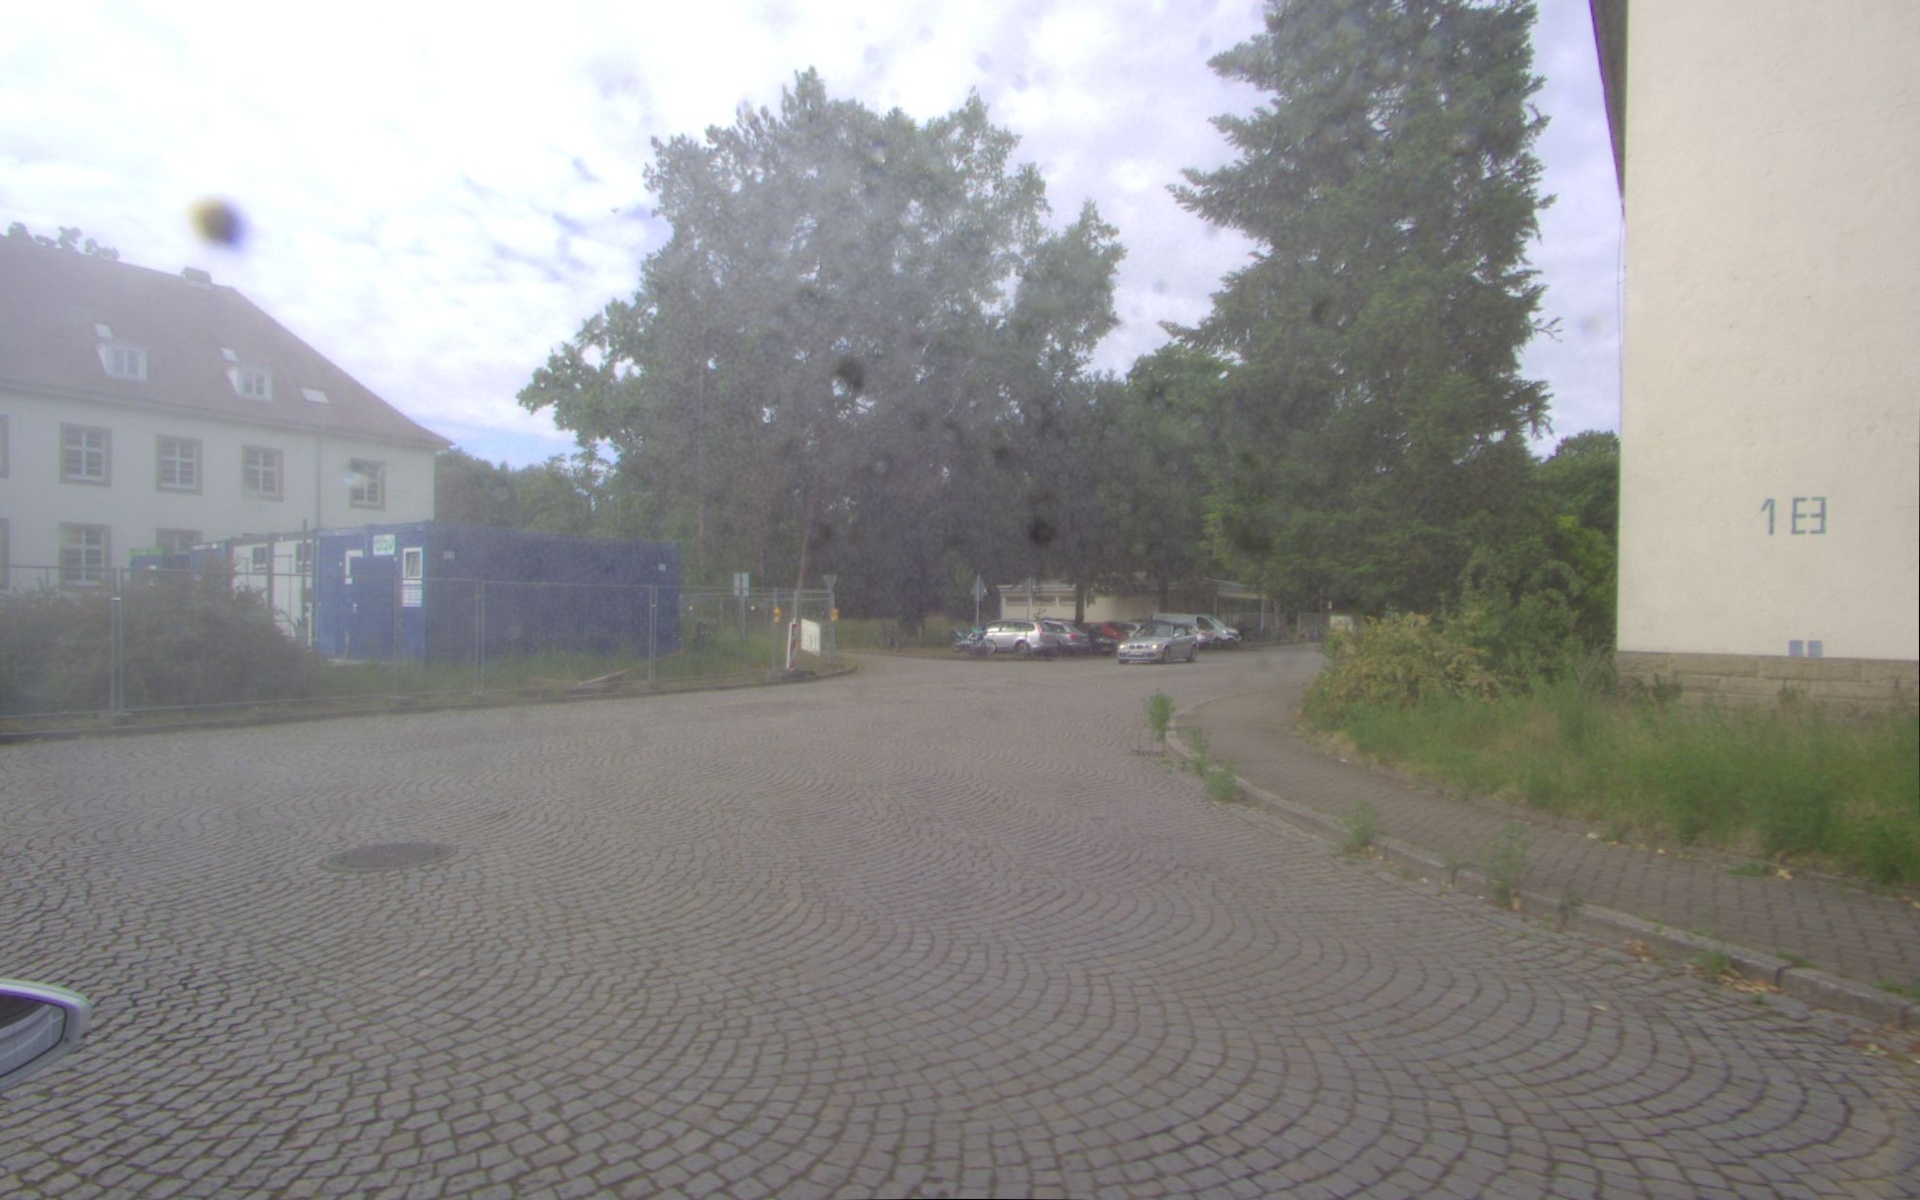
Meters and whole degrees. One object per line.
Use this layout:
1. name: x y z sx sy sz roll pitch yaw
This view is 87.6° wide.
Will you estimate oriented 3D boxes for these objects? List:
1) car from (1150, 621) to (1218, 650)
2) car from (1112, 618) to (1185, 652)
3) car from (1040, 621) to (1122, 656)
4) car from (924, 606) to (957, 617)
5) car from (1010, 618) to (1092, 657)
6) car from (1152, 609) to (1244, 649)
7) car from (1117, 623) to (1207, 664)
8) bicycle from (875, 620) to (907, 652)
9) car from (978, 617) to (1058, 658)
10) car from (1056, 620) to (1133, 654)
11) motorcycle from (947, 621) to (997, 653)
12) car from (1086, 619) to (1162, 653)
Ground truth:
1. car: 12.484 1.958 55.806 3.317 1.425 1.558 3 0 32
2. car: 9.707 1.776 51.698 3.317 1.533 1.558 3 1 32
3. car: 5.474 1.709 45.272 3.313 1.338 1.635 3 0 28
4. car: -2.001 1.183 103.065 3.326 1.078 1.256 0 -1 2
5. car: 3.900 1.579 42.975 3.171 1.467 1.384 3 1 28
6. car: 13.785 1.668 58.098 4.891 2.017 1.687 3 1 37
7. car: 7.101 1.492 34.978 1.585 1.363 4.270 -2 -2 34
8. bicycle: -2.668 1.367 38.515 0.507 1.182 1.795 1 -1 -30
9. car: 2.382 1.521 41.232 2.977 1.508 1.318 3 1 28
10. car: 6.436 1.750 47.947 3.320 1.379 1.439 3 0 36
11. motorcycle: 0.468 1.460 39.671 1.936 1.180 0.516 1 0 31
12. car: 8.074 1.752 49.260 3.314 1.462 1.559 3 0 29
